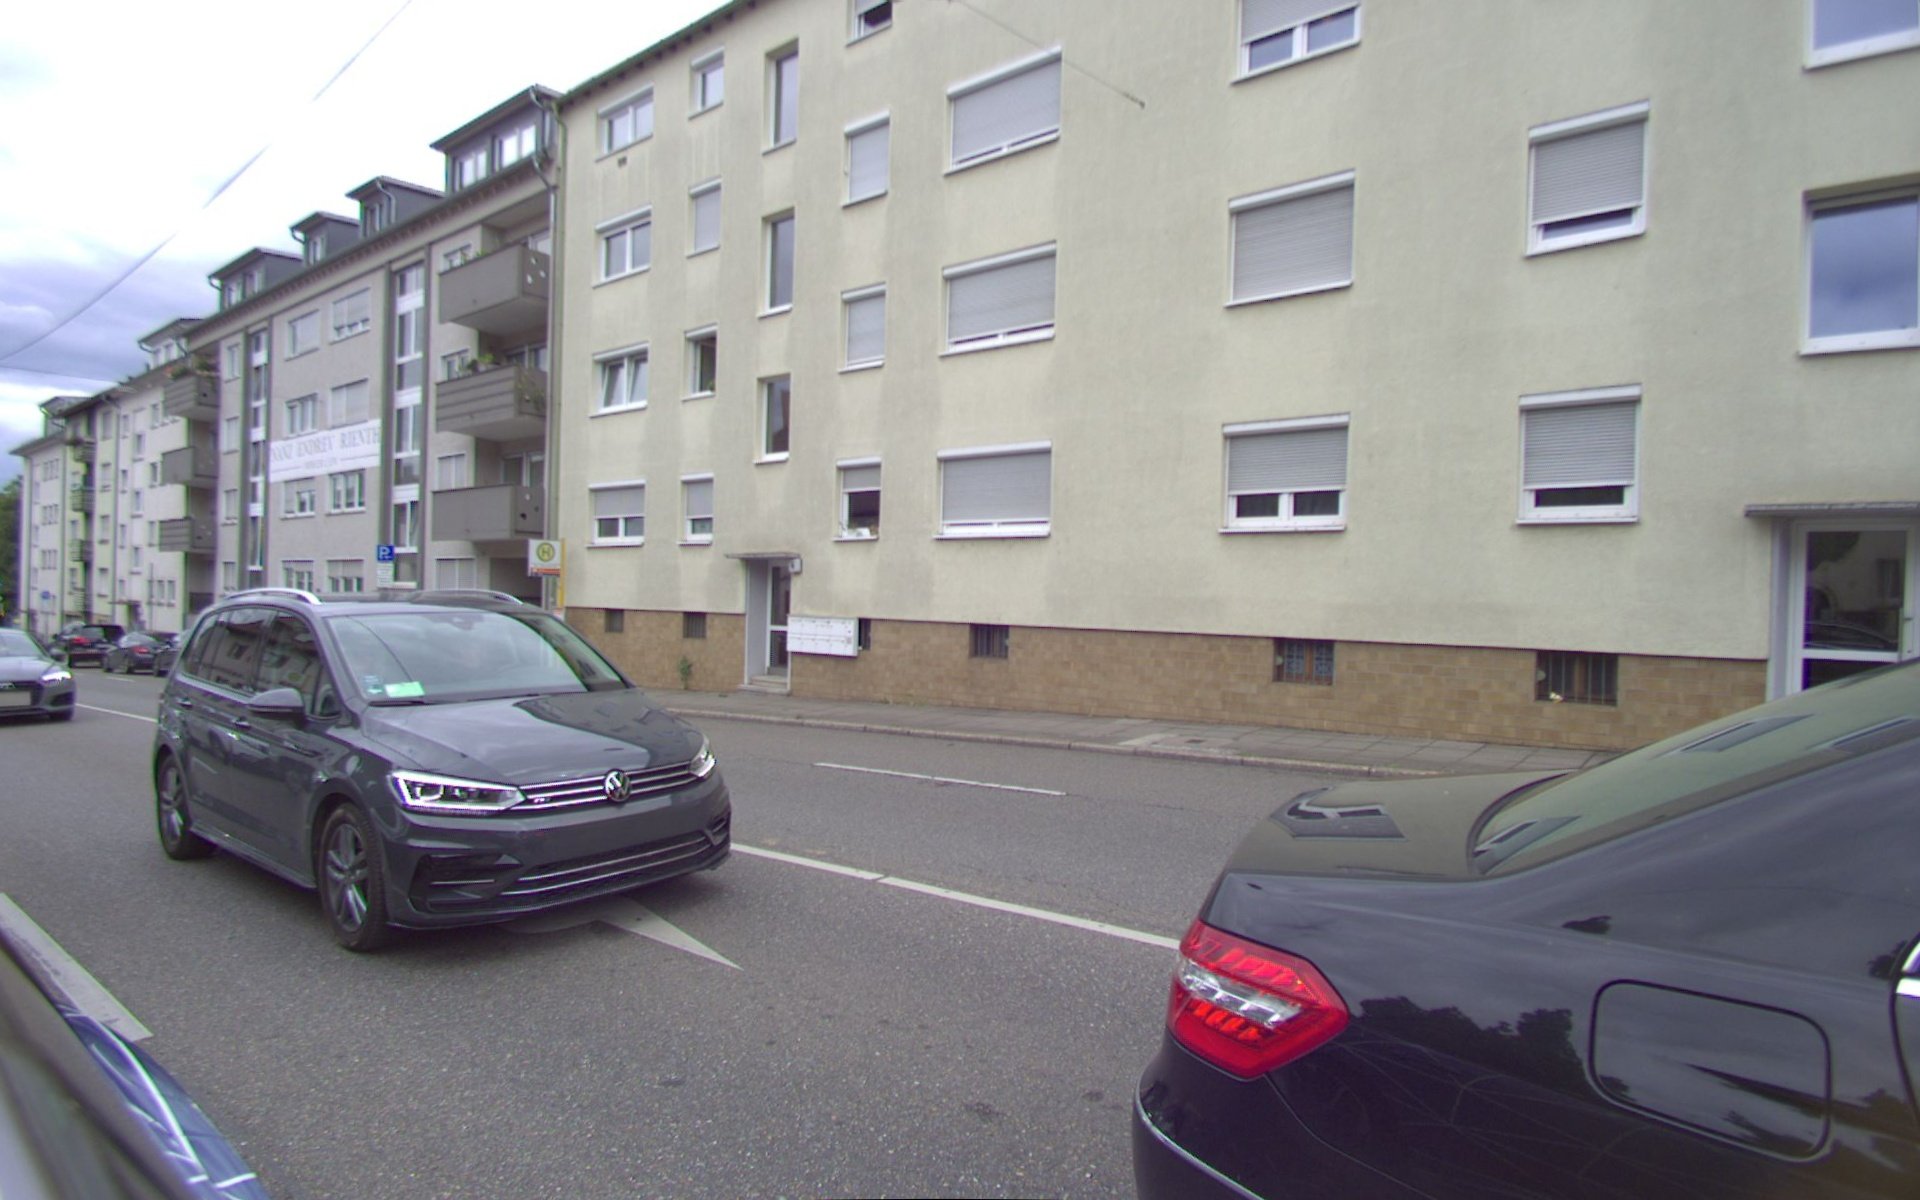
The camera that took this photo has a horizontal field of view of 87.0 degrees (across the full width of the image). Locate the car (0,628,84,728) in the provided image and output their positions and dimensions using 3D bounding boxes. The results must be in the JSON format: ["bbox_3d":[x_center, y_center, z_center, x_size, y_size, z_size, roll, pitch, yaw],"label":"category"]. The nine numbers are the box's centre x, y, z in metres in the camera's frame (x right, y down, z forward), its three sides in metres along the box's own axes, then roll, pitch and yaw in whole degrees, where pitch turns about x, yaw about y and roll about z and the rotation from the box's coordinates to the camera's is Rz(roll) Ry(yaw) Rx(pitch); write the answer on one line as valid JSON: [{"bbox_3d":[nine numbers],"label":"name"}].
[{"bbox_3d":[-14.598,1.108,15.184,4.148,1.365,1.856,-2,-2,44],"label":"car"}]

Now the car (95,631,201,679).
[{"bbox_3d":[-26.242,1.751,32.679,3.533,1.414,1.755,-1,-3,36],"label":"car"}]

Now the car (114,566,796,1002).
[{"bbox_3d":[-3.166,0.700,5.891,4.474,1.623,1.840,-1,0,38],"label":"car"}]

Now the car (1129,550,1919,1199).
[{"bbox_3d":[2.723,0.644,0.680,4.840,1.439,1.973,-2,-1,41],"label":"car"}]

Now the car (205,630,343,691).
[{"bbox_3d":[-17.591,1.505,25.928,3.680,1.422,1.755,-1,-3,36],"label":"car"}]

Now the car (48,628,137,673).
[{"bbox_3d":[-33.143,1.891,38.654,3.533,1.613,1.755,-1,-3,36],"label":"car"}]

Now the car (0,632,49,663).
[{"bbox_3d":[-46.181,2.300,49.418,3.752,1.414,1.755,-1,-3,36],"label":"car"}]

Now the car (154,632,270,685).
[{"bbox_3d":[-21.454,1.639,29.015,3.533,1.386,1.649,-1,-3,36],"label":"car"}]
